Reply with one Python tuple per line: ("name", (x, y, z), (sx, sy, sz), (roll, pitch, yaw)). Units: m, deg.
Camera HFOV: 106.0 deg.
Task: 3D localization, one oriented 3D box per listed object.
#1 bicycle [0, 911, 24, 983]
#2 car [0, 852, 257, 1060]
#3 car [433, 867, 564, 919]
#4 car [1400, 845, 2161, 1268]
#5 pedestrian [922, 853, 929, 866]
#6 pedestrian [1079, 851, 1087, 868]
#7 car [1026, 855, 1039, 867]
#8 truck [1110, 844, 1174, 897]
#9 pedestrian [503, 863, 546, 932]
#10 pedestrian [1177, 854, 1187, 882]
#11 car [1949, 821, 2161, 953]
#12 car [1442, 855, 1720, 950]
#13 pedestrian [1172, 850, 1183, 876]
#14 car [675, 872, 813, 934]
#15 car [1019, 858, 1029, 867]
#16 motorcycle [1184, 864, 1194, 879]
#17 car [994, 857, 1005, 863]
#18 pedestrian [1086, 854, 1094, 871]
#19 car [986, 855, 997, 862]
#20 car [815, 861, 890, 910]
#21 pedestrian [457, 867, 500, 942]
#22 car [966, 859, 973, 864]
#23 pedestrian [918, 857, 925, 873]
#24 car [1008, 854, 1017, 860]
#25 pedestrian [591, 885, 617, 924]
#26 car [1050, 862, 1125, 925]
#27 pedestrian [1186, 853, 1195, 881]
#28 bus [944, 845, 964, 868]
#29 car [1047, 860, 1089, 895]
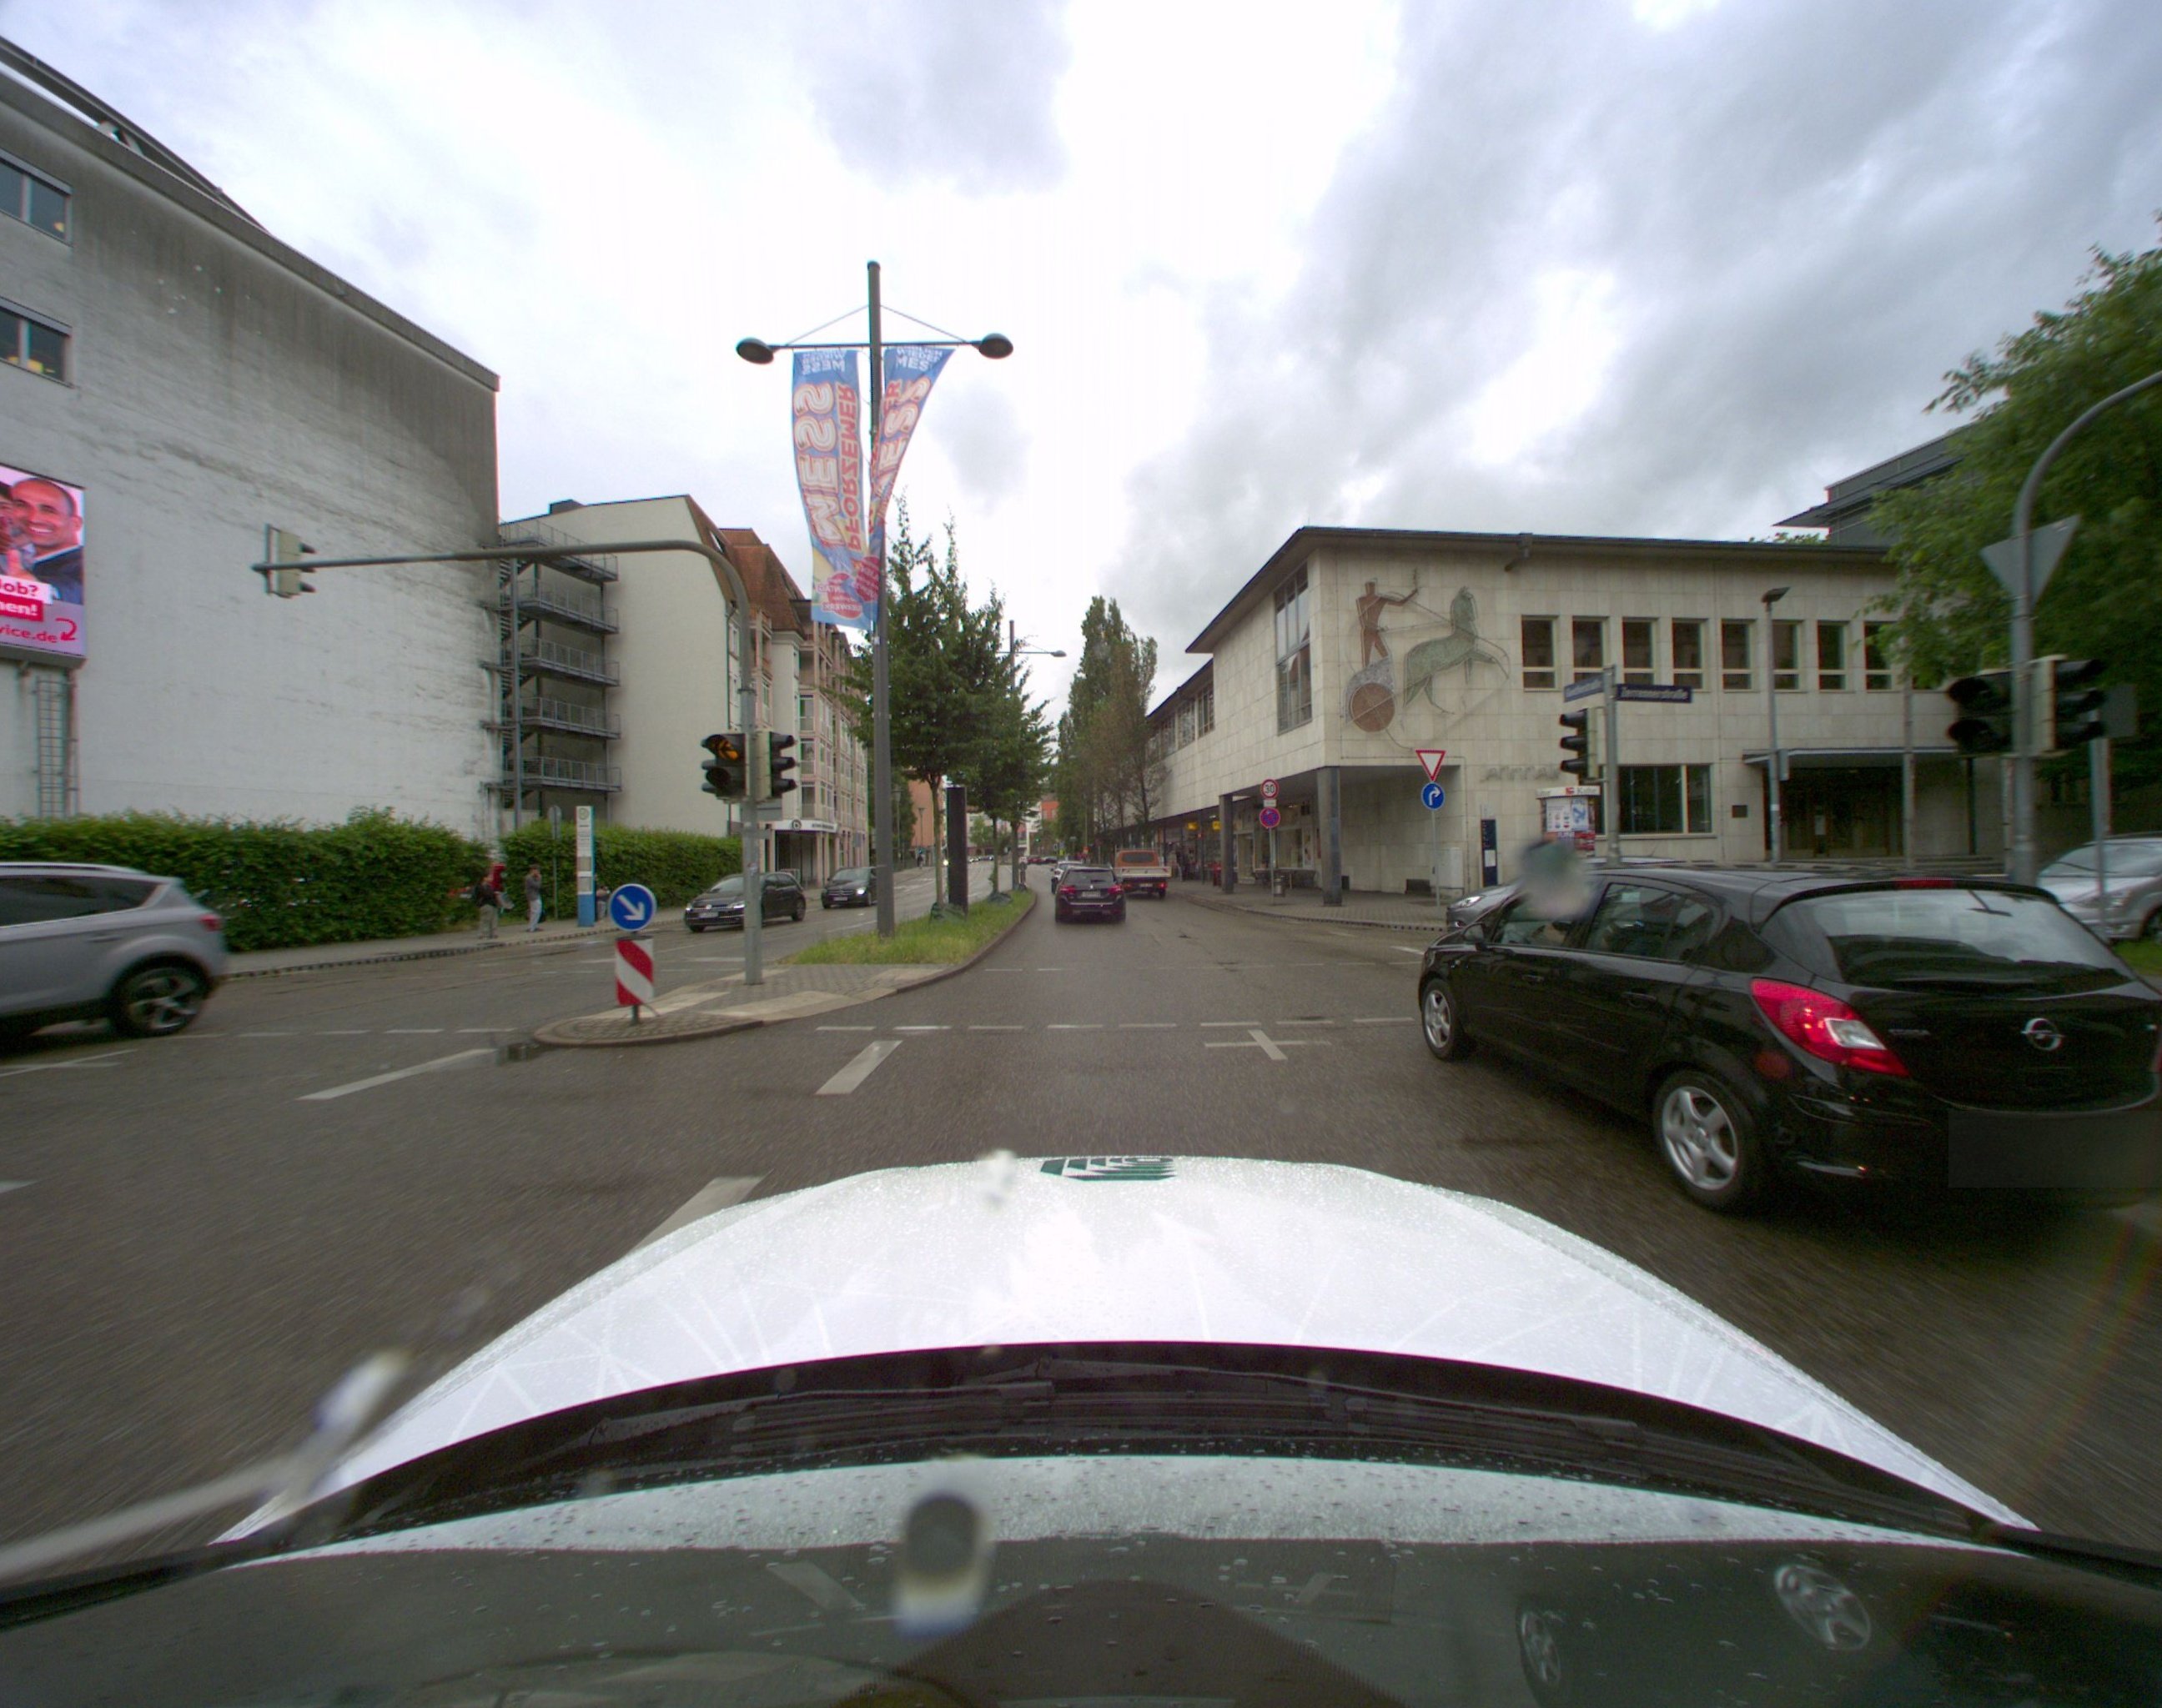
("bicycle", (-17.748, 1.491, 12.339), (0.644, 1.110, 2.071), (-1, -1, 33))
("car", (-9.948, 0.876, 6.645), (1.819, 1.736, 4.316), (-2, 0, 5))
("car", (-18.706, 1.209, 26.351), (1.590, 1.510, 3.599), (-1, -1, 0))
("car", (3.433, 0.716, 4.702), (1.703, 1.457, 3.741), (1, 0, 0))
("pedestrian", (-20.193, 0.719, 105.556), (0.795, 1.794, 0.811), (0, -1, -4))
("pedestrian", (0.177, 0.541, 85.554), (0.653, 1.767, 0.921), (-2, 0, -7))
("car", (-7.042, 1.075, 118.252), (1.643, 1.564, 3.591), (2, -3, -6))
("truck", (2.431, 0.683, 33.541), (2.117, 2.025, 4.710), (0, -1, -3))
("pedestrian", (-14.552, 1.127, 21.303), (0.639, 1.765, 0.592), (-1, -4, 2))
("pedestrian", (5.769, 0.777, 46.663), (0.429, 1.566, 0.508), (-2, 0, -8))
("car", (16.104, 0.425, 12.101), (4.584, 1.759, 1.854), (-1, -2, -4))
("car", (8.592, 0.788, 14.458), (3.951, 1.477, 2.011), (0, -1, 24))
("pedestrian", (5.951, 0.540, 50.384), (0.425, 1.566, 0.513), (-2, 0, 39))
("car", (-8.968, 1.260, 22.088), (1.750, 1.420, 4.100), (-3, -1, 4))
("car", (-11.065, 1.612, 158.244), (1.643, 1.564, 3.591), (2, -3, -6))
("motorcycle", (6.324, 1.008, 47.643), (0.324, 0.804, 0.918), (-2, 1, -6))
("car", (-22.888, 1.626, 228.766), (1.655, 1.564, 3.564), (3, -3, -31))
("pedestrian", (0.920, 0.911, 85.473), (0.697, 1.801, 0.605), (-2, 0, -7))
("car", (-24.692, 1.257, 224.696), (1.655, 1.564, 3.564), (3, -3, -31))
("car", (-9.005, 1.199, 32.454), (1.823, 1.736, 4.255), (-3, -1, -2))
("pedestrian", (-14.489, 1.199, 19.598), (0.524, 1.764, 0.631), (-1, -1, 2))
("car", (-29.176, 1.878, 212.649), (1.790, 1.325, 4.396), (-1, 0, -7))
("pedestrian", (-18.658, 1.290, 95.437), (0.696, 1.794, 0.957), (0, -1, -3))
("car", (-18.417, 0.860, 218.183), (1.993, 1.684, 3.987), (-1, 0, -10))
("pedestrian", (-14.421, 1.520, 24.611), (0.467, 1.150, 0.501), (-1, 0, -3))
("car", (0.232, 0.984, 21.535), (1.788, 1.484, 4.001), (0, -1, 2))
("pedestrian", (6.372, 0.751, 47.455), (0.387, 1.566, 0.429), (-2, 0, -9))
("bus", (-19.176, 0.277, 123.233), (2.743, 3.075, 12.203), (-1, 1, -8))
("car", (-0.652, 1.025, 37.417), (1.790, 1.483, 3.997), (-1, 0, -2))
